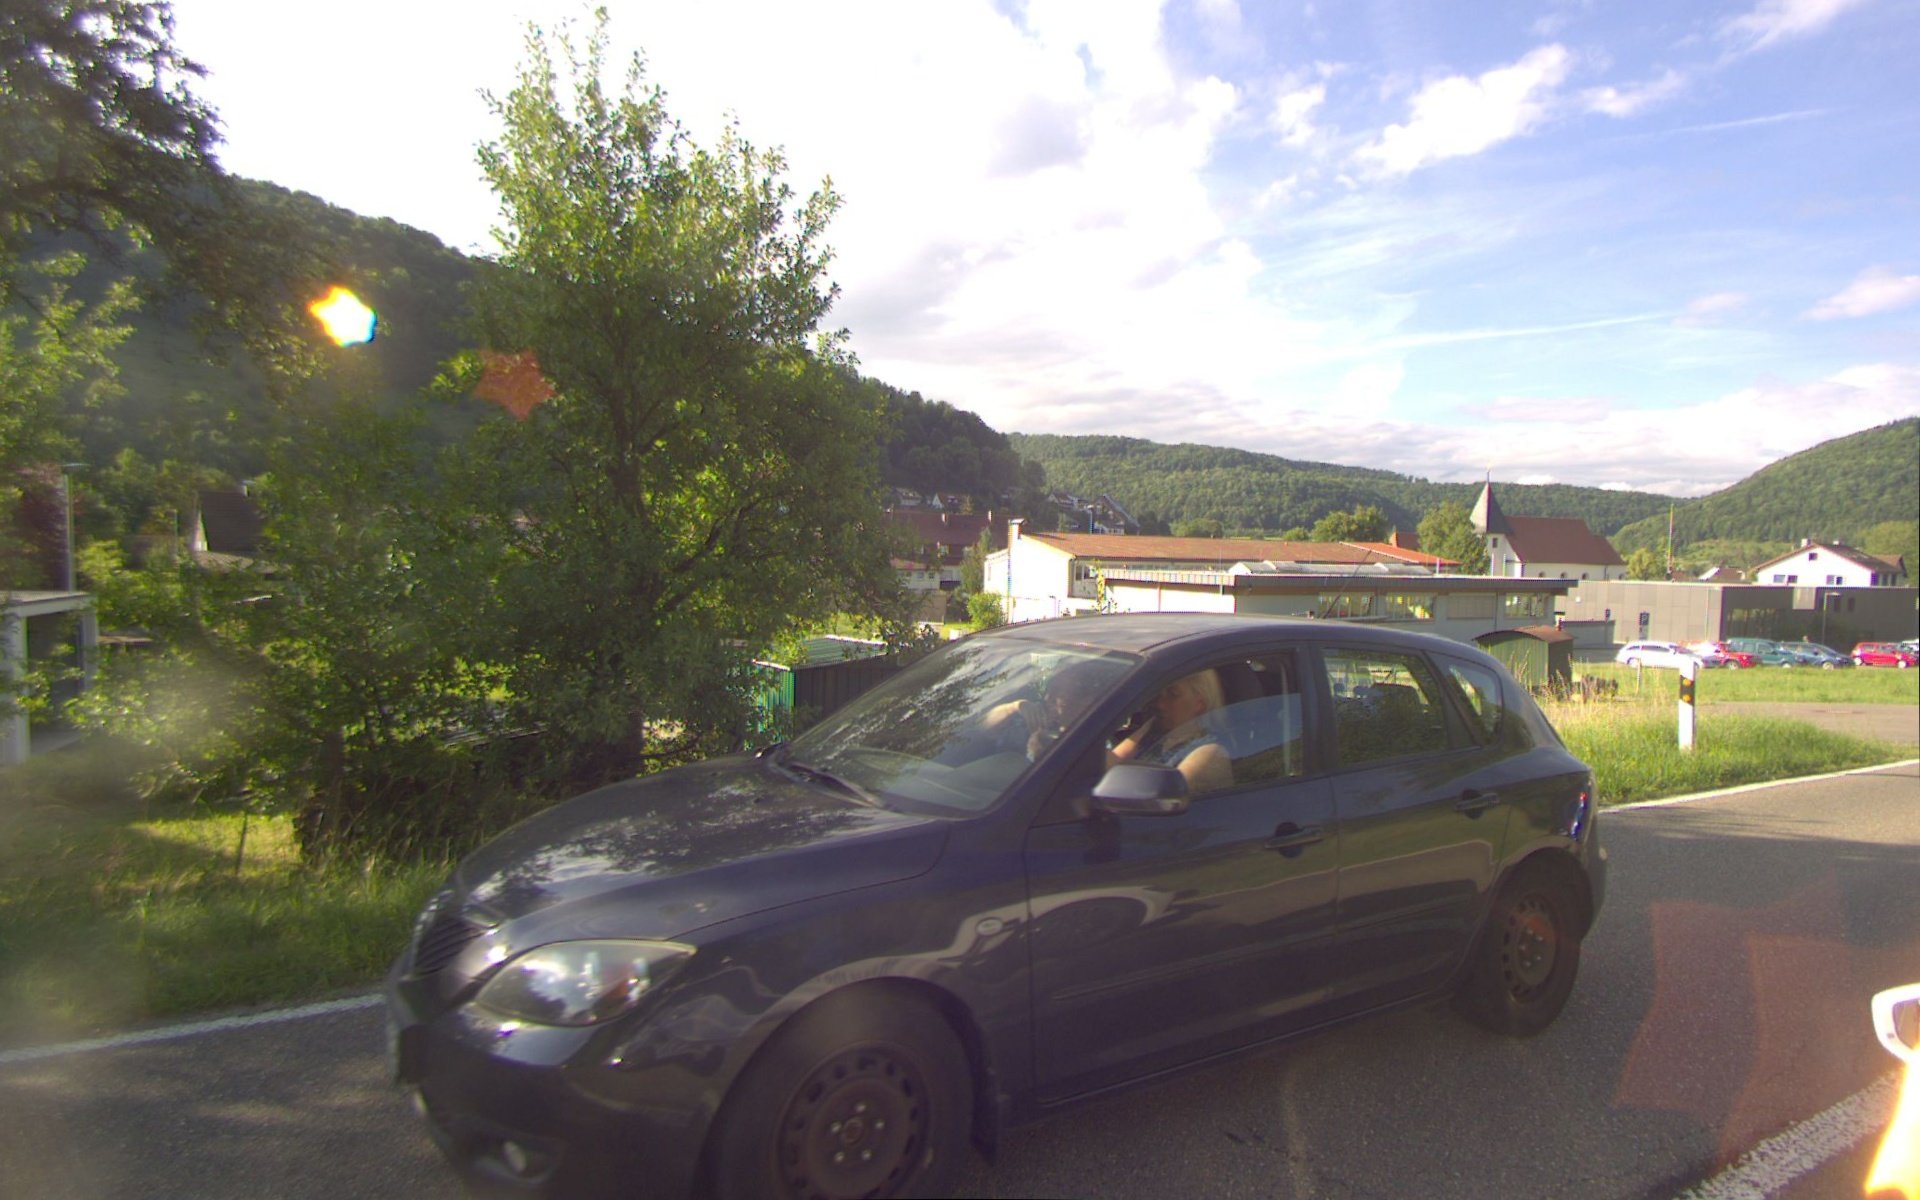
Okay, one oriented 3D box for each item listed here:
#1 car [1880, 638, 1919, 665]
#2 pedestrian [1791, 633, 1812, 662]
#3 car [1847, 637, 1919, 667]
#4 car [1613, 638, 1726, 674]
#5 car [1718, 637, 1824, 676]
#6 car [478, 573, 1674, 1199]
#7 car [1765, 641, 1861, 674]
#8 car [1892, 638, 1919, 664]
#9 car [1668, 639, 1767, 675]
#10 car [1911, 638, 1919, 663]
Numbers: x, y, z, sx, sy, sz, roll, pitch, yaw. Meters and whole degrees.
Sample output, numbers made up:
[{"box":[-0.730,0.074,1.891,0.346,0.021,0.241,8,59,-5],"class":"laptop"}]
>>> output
[{"box":[64.453,3.478,67.147,1.978,1.733,3.965,2,0,-32],"class":"car"},{"box":[60.724,3.452,72.467,0.962,2.040,0.821,2,0,-30],"class":"pedestrian"},{"box":[60.442,3.342,65.118,1.978,1.733,3.965,2,0,-32],"class":"car"},{"box":[39.109,3.049,55.490,1.978,1.733,4.705,2,0,-32],"class":"car"},{"box":[47.303,3.252,58.668,1.978,2.034,4.382,2,0,-32],"class":"car"},{"box":[0.582,0.726,3.569,4.003,1.449,1.696,2,0,-31],"class":"car"},{"box":[51.356,3.457,60.523,1.978,1.733,3.965,2,0,-32],"class":"car"},{"box":[67.332,3.580,69.404,1.978,1.733,3.965,2,0,-32],"class":"car"},{"box":[42.210,3.148,56.018,1.978,1.733,3.965,2,0,-32],"class":"car"},{"box":[70.173,3.677,70.968,1.978,1.733,3.965,2,0,-32],"class":"car"}]
